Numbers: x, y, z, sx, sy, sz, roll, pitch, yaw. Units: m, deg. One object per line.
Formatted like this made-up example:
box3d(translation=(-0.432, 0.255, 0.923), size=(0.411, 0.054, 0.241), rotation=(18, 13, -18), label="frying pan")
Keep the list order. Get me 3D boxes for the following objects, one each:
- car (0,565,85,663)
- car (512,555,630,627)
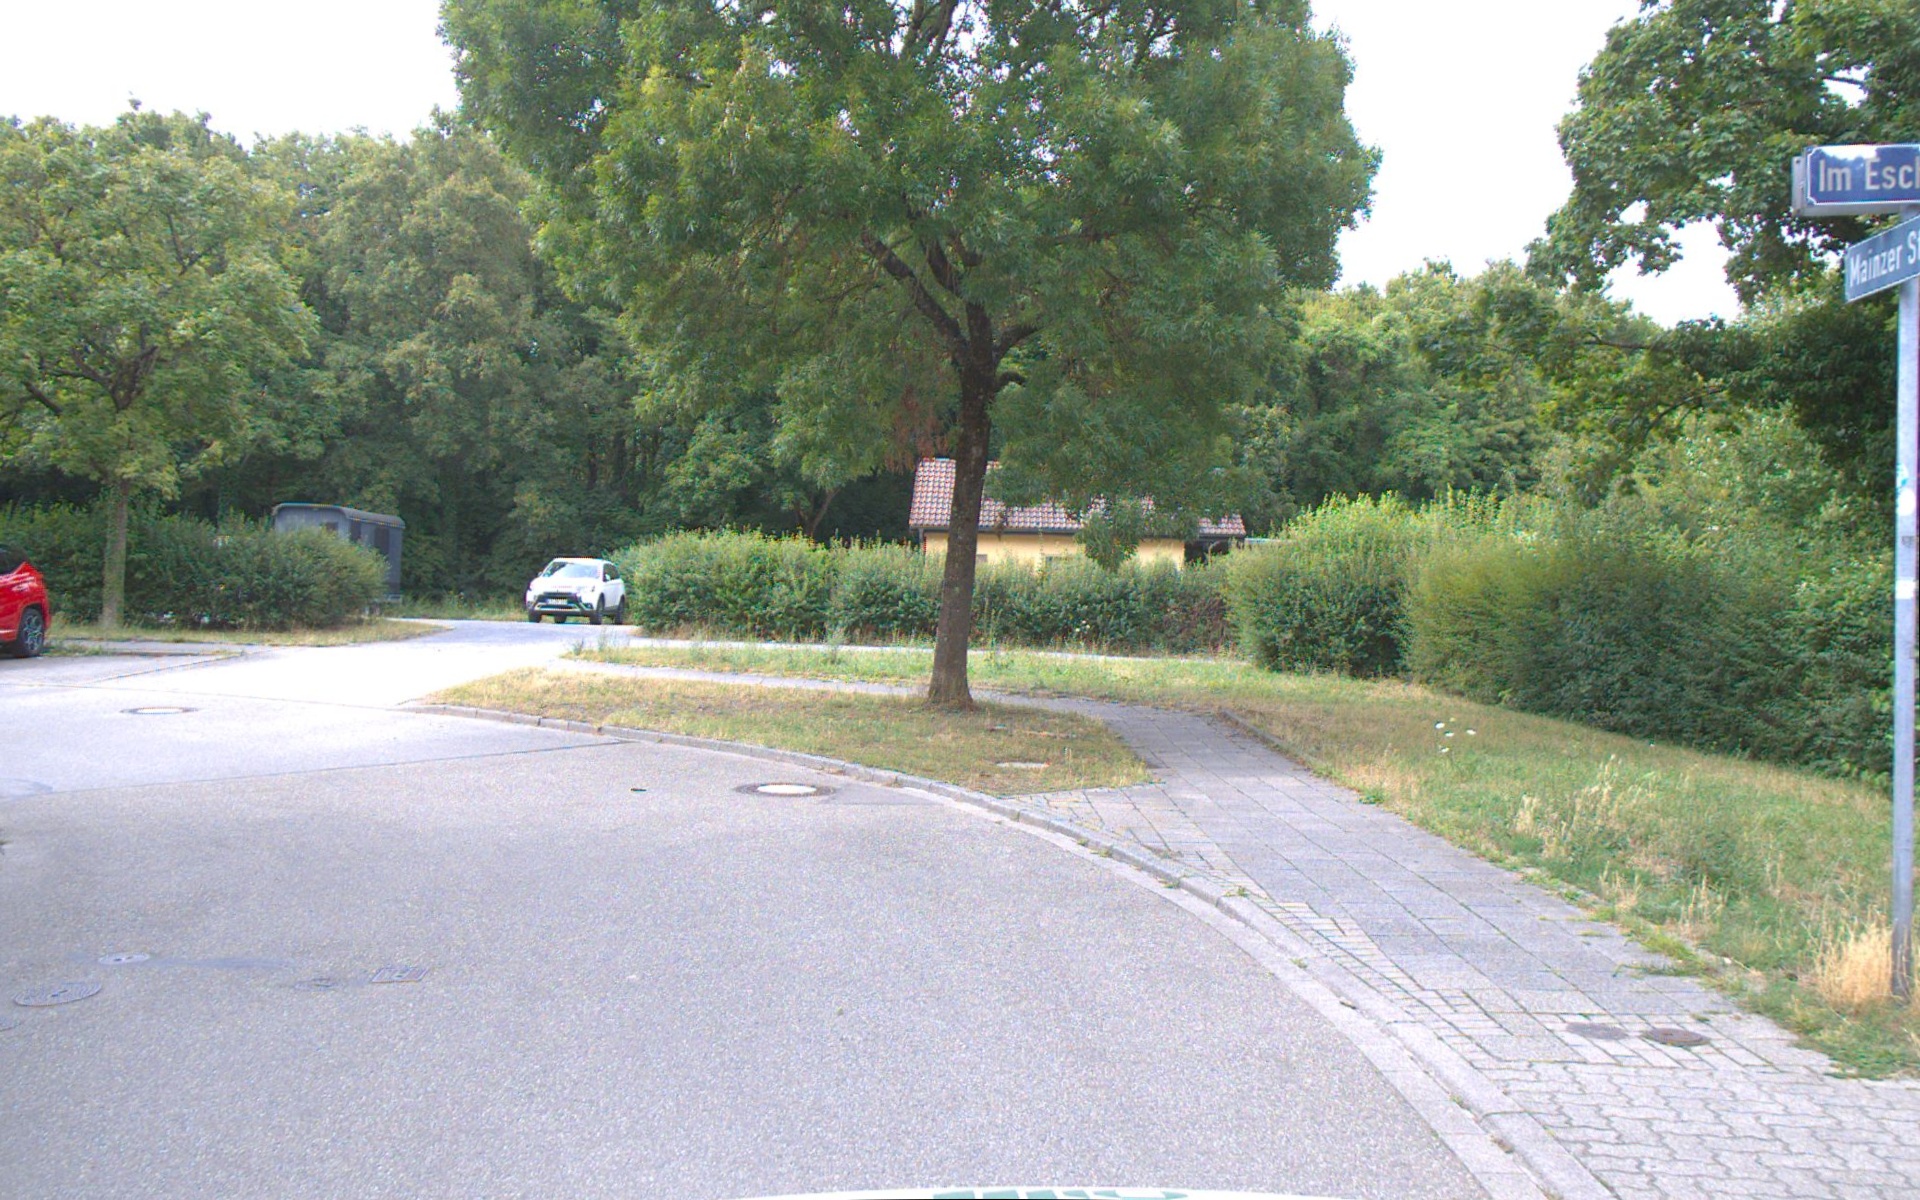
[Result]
box3d(translation=(-14.150, 0.197, 22.600), size=(1.953, 1.313, 4.693), rotation=(1, 1, -1), label="car")
box3d(translation=(-9.821, -0.232, 42.079), size=(1.898, 1.689, 4.341), rotation=(1, 1, 1), label="car")
